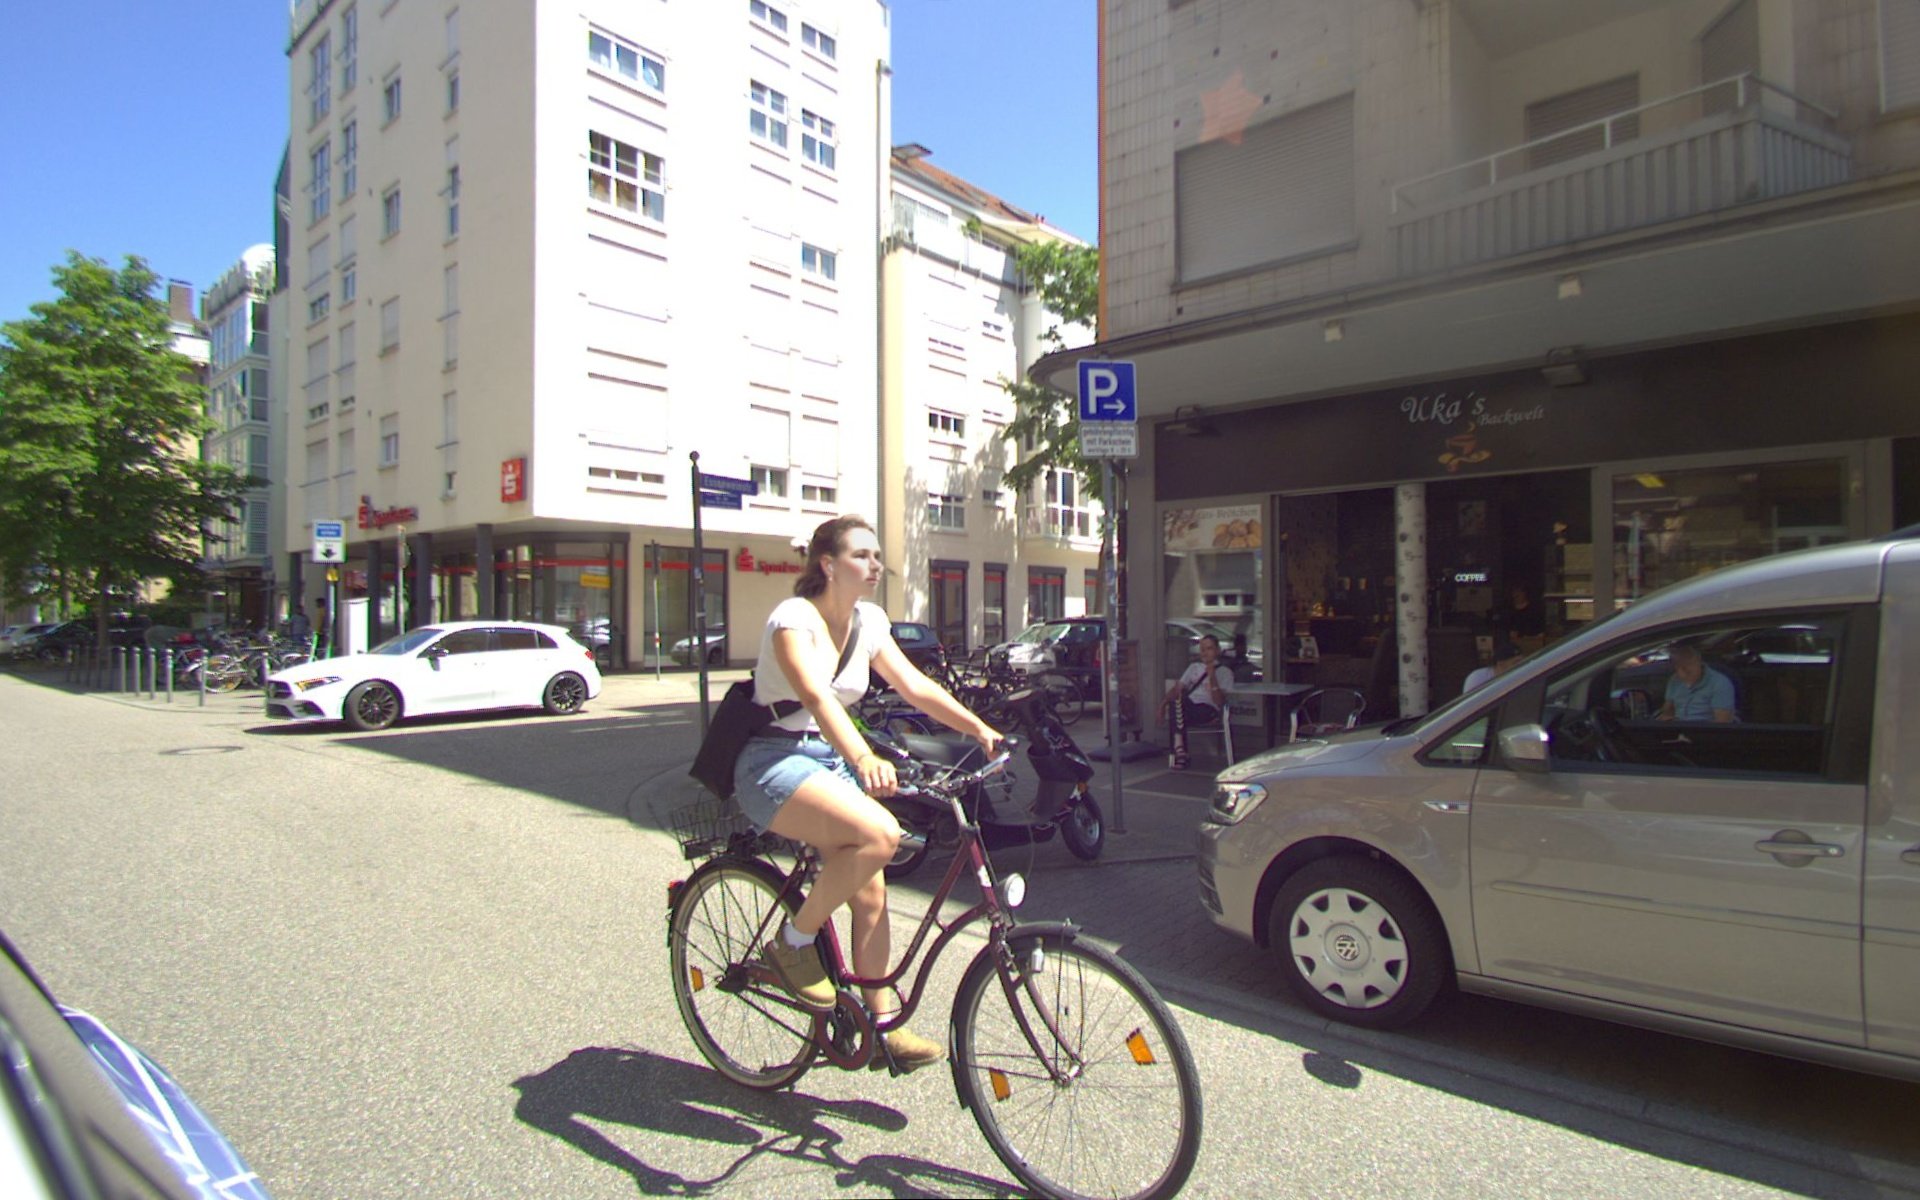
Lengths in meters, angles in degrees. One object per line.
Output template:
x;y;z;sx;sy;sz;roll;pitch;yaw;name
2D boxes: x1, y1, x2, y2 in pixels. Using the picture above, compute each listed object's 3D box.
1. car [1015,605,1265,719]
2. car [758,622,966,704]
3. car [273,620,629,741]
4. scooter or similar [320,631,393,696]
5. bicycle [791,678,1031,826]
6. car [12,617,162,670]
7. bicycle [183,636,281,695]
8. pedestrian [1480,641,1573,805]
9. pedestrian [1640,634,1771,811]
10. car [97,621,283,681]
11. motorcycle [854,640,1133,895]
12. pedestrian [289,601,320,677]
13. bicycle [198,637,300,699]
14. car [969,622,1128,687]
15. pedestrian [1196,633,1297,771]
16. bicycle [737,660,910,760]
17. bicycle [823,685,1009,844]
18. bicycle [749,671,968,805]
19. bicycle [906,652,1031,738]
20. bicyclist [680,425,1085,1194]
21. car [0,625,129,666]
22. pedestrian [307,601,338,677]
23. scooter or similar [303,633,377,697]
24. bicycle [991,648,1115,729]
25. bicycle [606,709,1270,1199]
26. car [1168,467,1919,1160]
2.870;0.903;15.601;1.999;1.441;3.946;-6;-3;41;car
-1.879;1.172;20.051;3.834;1.436;1.816;1;-2;-45;car
-7.087;1.025;14.430;1.814;1.436;4.183;-2;-2;41;car
-11.488;1.192;19.289;0.289;1.176;1.177;-2;-2;39;scooter or similar
-0.362;1.081;7.359;1.684;0.964;0.411;-1;0;-6;bicycle
-31.031;1.505;36.037;1.651;1.760;3.835;-2;-2;40;car
-15.037;1.333;20.939;1.586;1.099;0.371;-2;0;-44;bicycle
4.139;0.873;7.425;0.504;1.135;0.496;-1;-2;21;pedestrian
5.077;0.808;6.907;0.491;1.135;0.510;0;-2;-21;pedestrian
-21.241;1.360;28.020;1.651;1.540;3.835;-2;-2;40;car
0.198;0.909;5.792;1.530;1.293;0.394;-1;1;-17;motorcycle
-18.835;1.113;29.074;0.605;2.141;0.492;-1;-2;22;pedestrian
-13.920;1.311;19.841;1.586;1.099;0.371;-2;0;-44;bicycle
2.212;1.270;24.604;3.834;1.436;1.816;1;-2;-45;car
2.614;0.897;9.225;0.698;1.189;0.585;-2;-2;39;pedestrian
-1.387;1.109;10.294;1.692;0.964;0.409;-1;0;9;bicycle
-0.300;1.076;6.718;1.194;0.964;0.337;-1;0;-6;bicycle
-0.805;1.085;8.096;1.684;0.964;0.411;-1;0;-6;bicycle
0.077;1.158;12.642;1.711;0.964;0.405;-1;0;42;bicycle
-0.239;0.476;2.830;0.978;1.719;0.616;-2;-2;41;bicyclist
-35.154;1.739;39.626;1.651;1.507;3.835;-2;-2;40;car
-18.011;1.093;28.585;0.599;2.141;0.496;0;-1;-13;pedestrian
-11.876;1.227;19.419;0.289;1.176;1.177;-2;-2;39;scooter or similar
1.194;1.130;13.287;1.711;0.964;0.405;-1;0;42;bicycle
-0.199;0.924;2.794;1.939;1.100;0.596;-2;-2;41;bicycle
3.289;0.556;3.219;4.898;1.843;1.770;-2;-1;41;car
